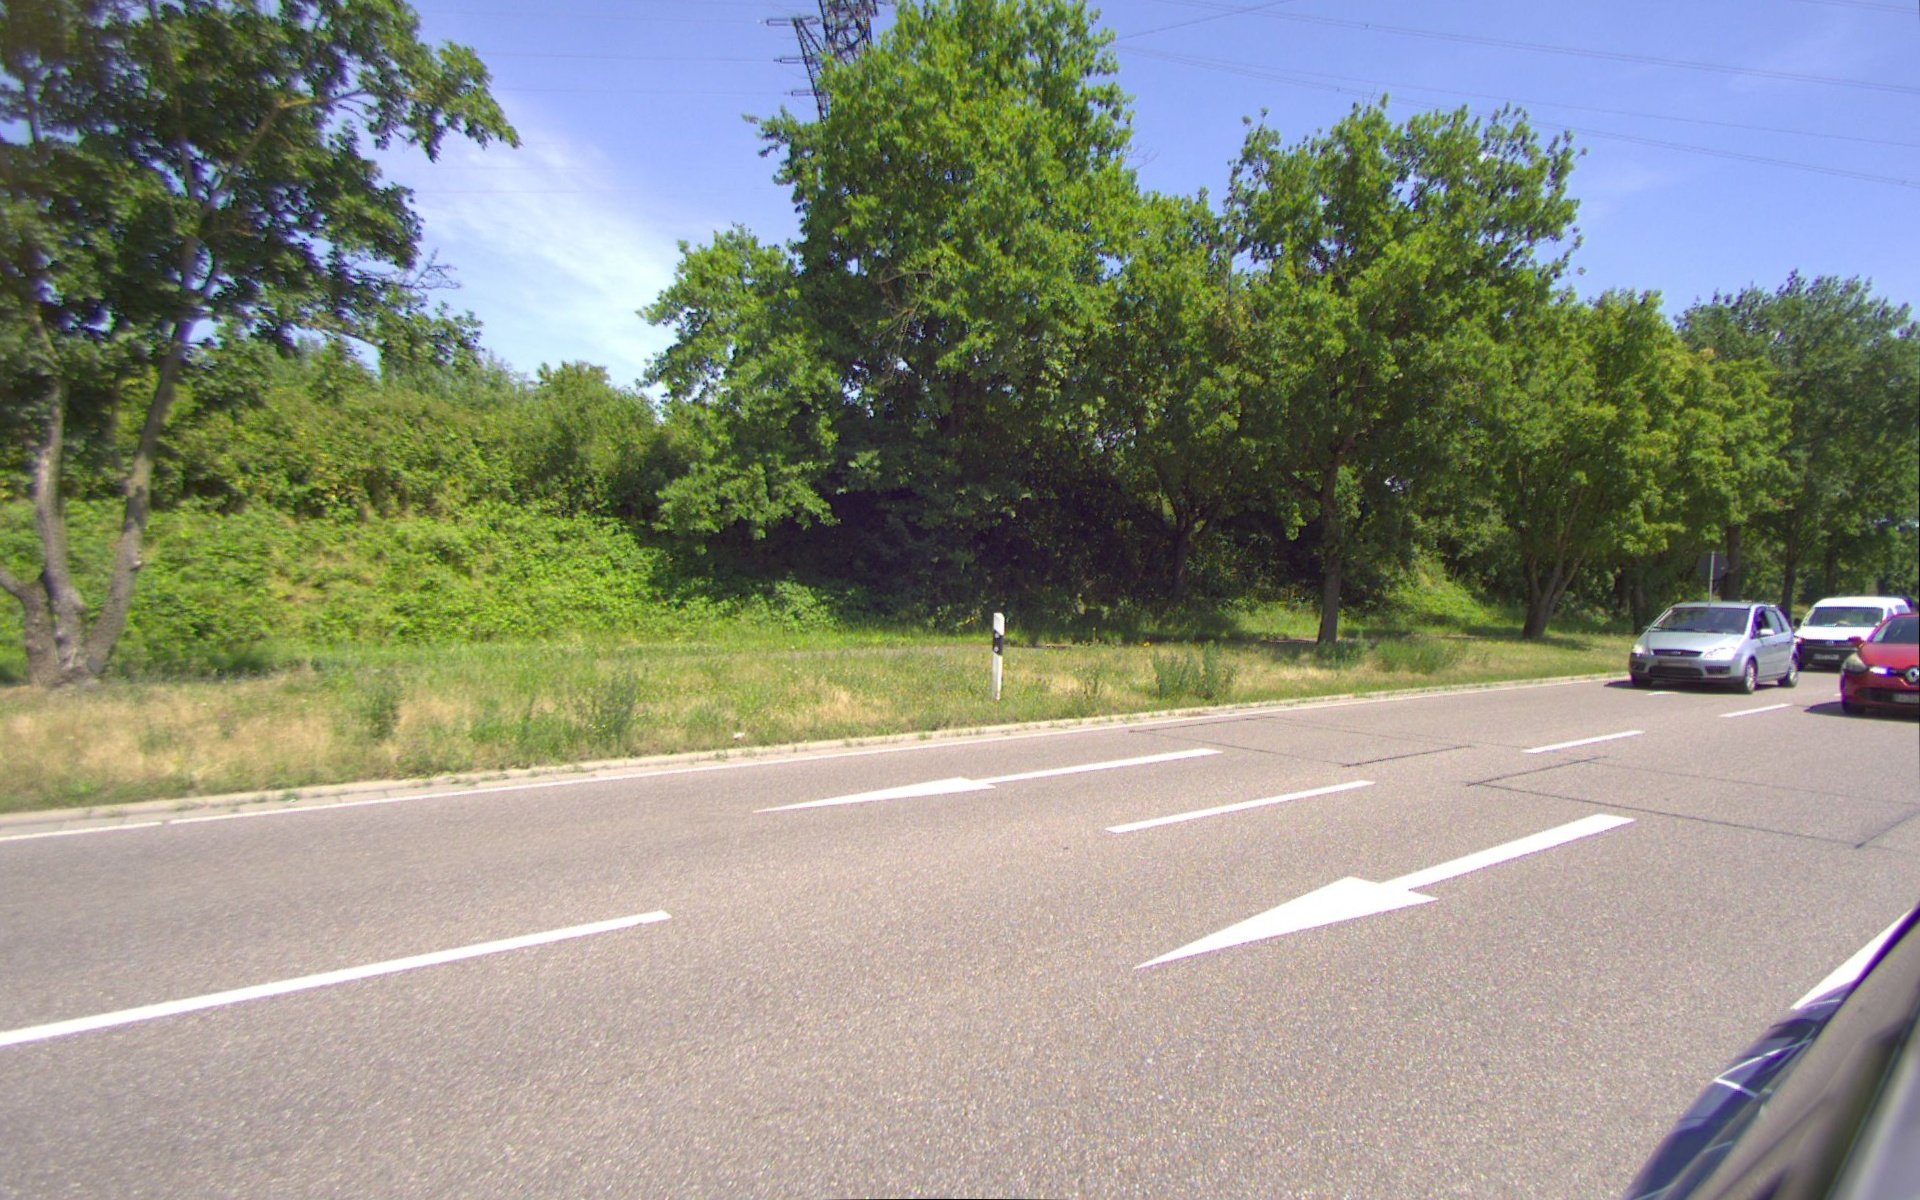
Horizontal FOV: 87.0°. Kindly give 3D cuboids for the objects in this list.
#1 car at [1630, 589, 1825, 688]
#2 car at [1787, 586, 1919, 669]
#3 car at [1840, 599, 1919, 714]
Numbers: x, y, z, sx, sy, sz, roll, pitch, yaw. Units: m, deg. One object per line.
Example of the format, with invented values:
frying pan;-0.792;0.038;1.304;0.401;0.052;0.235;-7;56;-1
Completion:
car;14.042;0.641;18.442;4.192;1.614;1.748;0;0;-37
car;21.949;0.617;24.574;4.944;1.823;1.809;0;0;-37
car;14.031;0.741;14.245;3.990;1.480;1.747;0;0;-38
